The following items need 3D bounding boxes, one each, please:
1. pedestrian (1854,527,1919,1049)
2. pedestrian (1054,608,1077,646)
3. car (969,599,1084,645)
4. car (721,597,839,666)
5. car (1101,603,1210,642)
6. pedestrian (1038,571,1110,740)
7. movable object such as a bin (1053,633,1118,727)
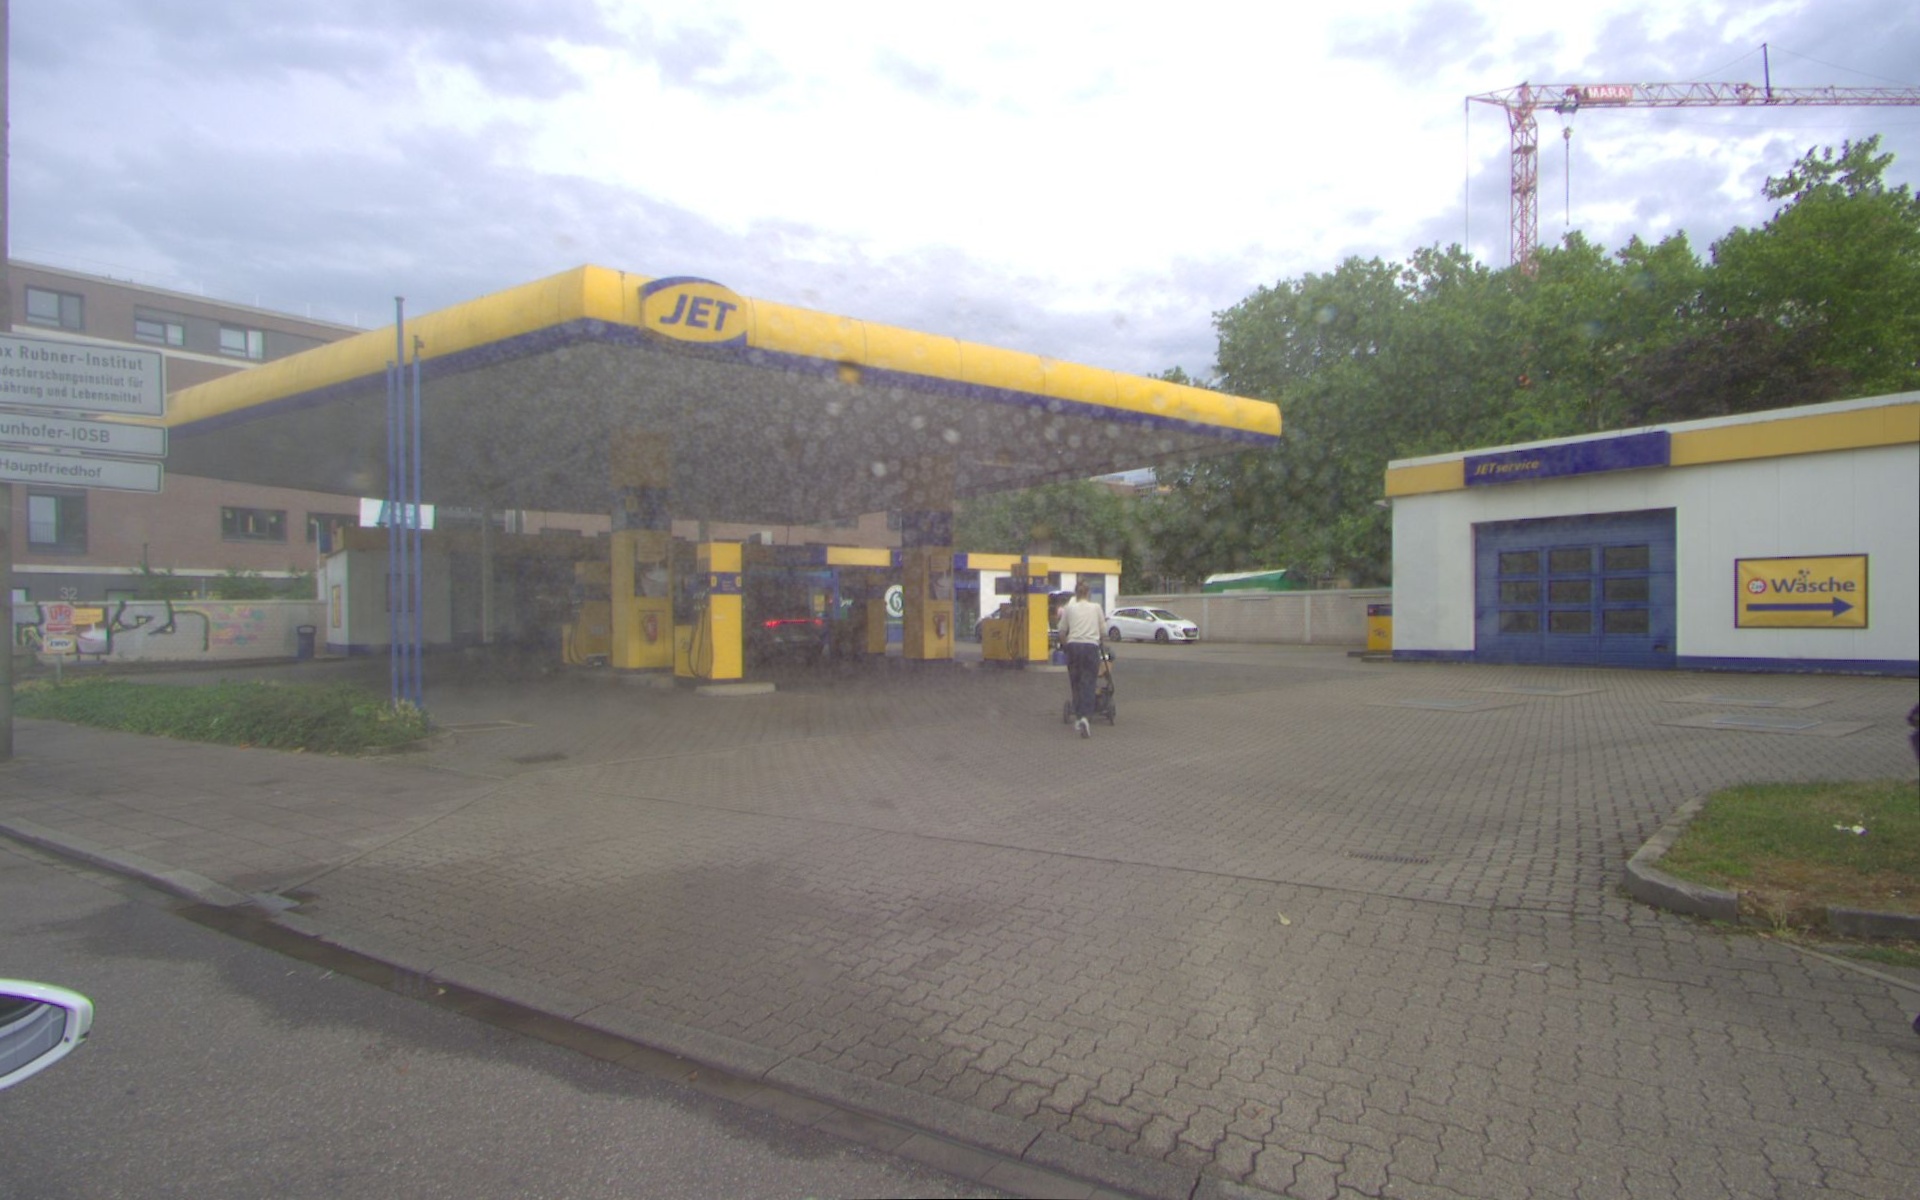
[{"bbox_3d":[3.661,0.625,3.130,0.845,1.762,0.974,-2,1,-5],"label":"pedestrian"},{"bbox_3d":[3.822,0.978,36.369,0.573,1.364,0.607,1,-2,-38],"label":"pedestrian"},{"bbox_3d":[2.475,0.889,38.182,1.821,1.658,4.439,2,-3,-42],"label":"car"},{"bbox_3d":[-4.604,0.713,25.150,1.964,1.517,4.310,-1,1,-24],"label":"car"},{"bbox_3d":[8.127,0.973,41.851,1.915,1.546,4.302,2,-3,-38],"label":"car"},{"bbox_3d":[1.317,0.592,11.459,0.755,1.821,1.161,0,2,10],"label":"pedestrian"},{"bbox_3d":[1.574,0.969,12.453,0.755,1.053,1.023,0,2,10],"label":"movable object such as a bin"}]
